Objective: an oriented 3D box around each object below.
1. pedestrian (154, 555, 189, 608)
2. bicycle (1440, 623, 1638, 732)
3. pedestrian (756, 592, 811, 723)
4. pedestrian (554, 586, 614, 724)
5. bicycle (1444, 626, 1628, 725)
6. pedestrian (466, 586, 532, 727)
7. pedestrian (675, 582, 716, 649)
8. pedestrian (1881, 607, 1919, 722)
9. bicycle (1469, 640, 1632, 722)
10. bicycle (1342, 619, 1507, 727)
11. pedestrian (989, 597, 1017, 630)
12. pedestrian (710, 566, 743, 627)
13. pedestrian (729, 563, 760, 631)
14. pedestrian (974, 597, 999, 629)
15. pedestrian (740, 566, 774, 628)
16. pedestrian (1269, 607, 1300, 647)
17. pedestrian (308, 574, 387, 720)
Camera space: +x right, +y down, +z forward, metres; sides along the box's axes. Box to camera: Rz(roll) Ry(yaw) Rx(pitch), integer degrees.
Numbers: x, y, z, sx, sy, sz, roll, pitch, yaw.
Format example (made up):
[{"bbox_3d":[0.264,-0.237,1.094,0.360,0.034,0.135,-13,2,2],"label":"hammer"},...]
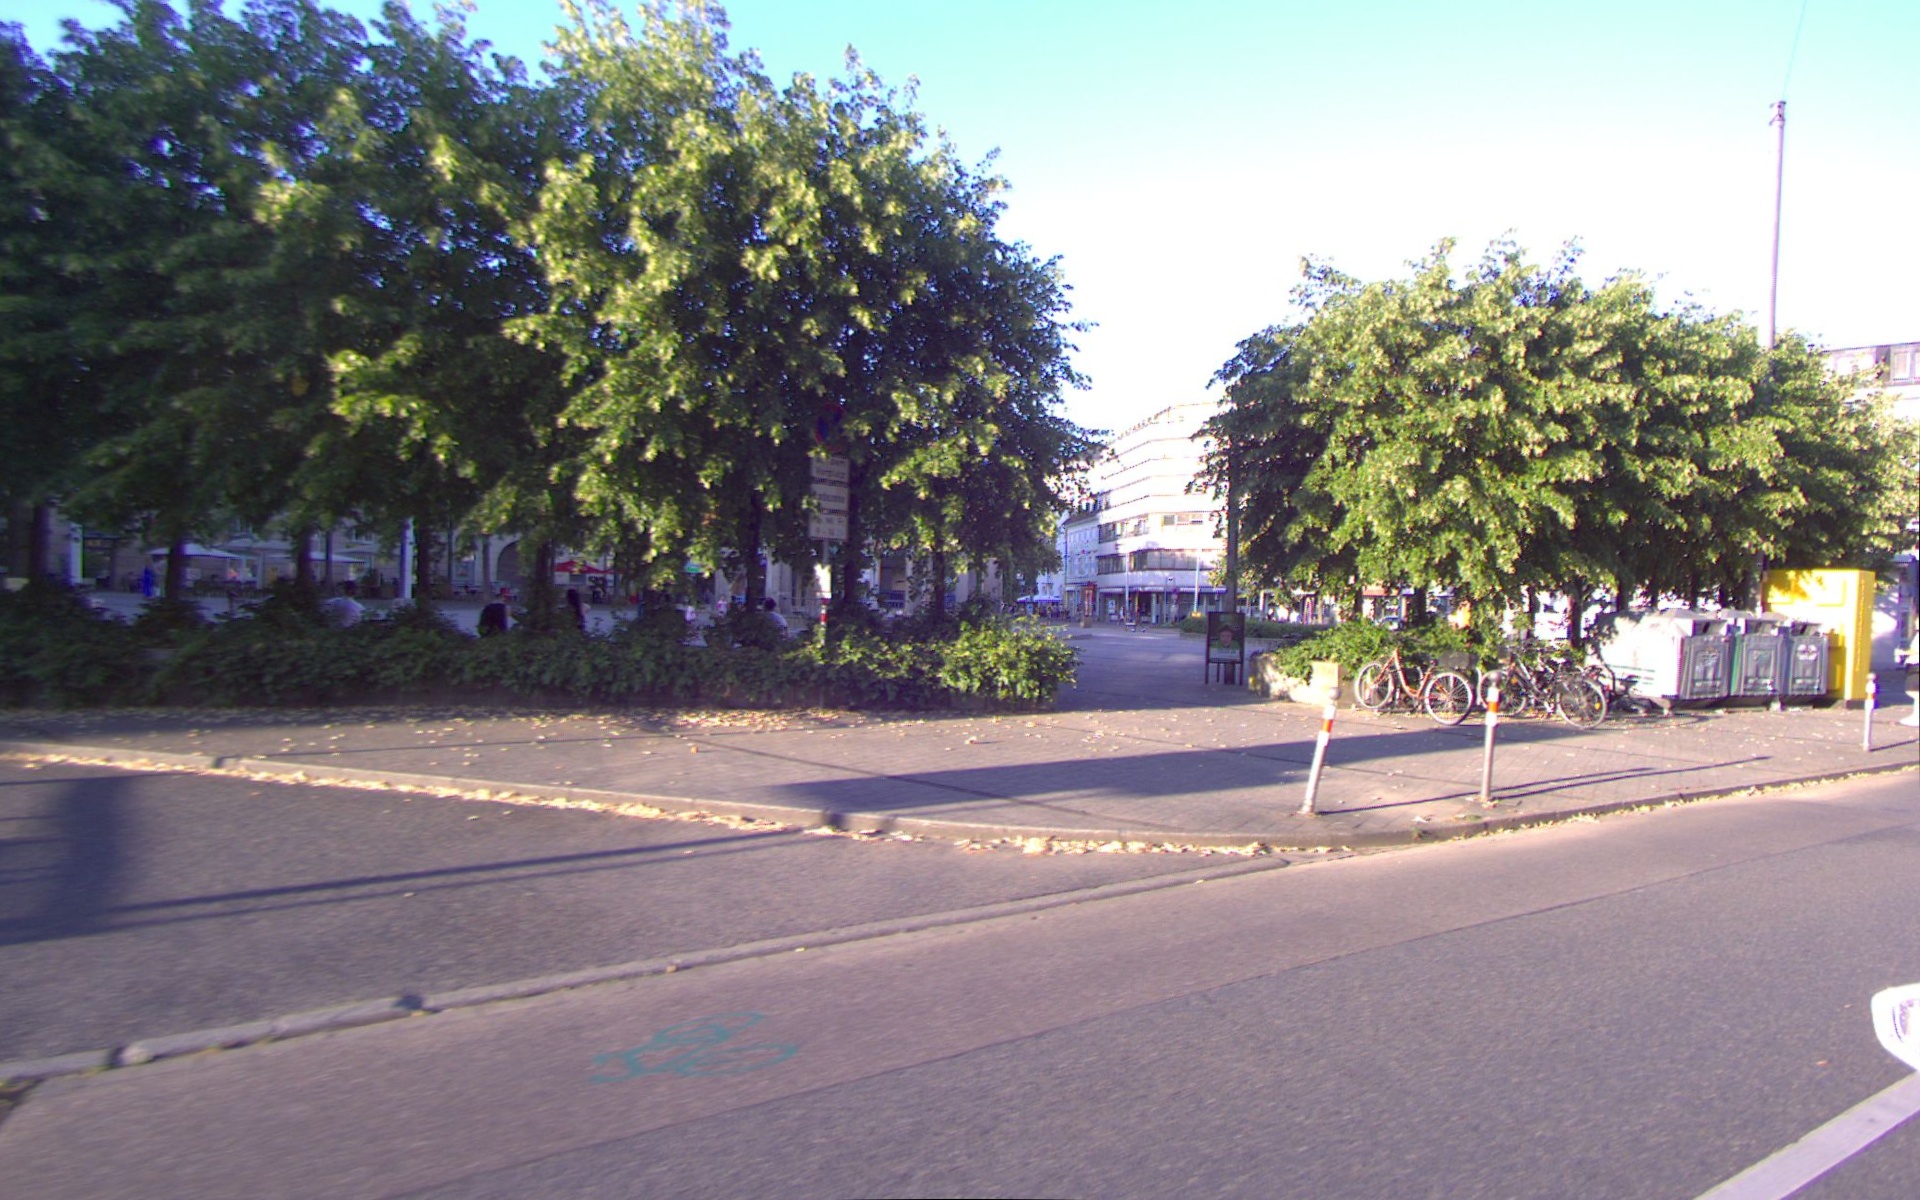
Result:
[{"bbox_3d":[-30.063,-0.688,38.296,0.718,1.974,0.803,1,0,-12],"label":"pedestrian"},{"bbox_3d":[8.043,1.031,14.105,0.512,1.254,2.418,1,2,-31],"label":"bicycle"},{"bbox_3d":[-2.751,0.876,15.618,0.718,1.974,0.802,1,0,-17],"label":"pedestrian"},{"bbox_3d":[-5.549,0.799,14.863,0.718,1.974,0.802,1,0,-17],"label":"pedestrian"},{"bbox_3d":[8.418,1.057,14.821,0.457,1.254,2.418,1,1,-31],"label":"bicycle"},{"bbox_3d":[-6.667,0.800,14.562,0.718,1.974,0.802,1,0,-17],"label":"pedestrian"},{"bbox_3d":[-6.600,0.385,25.080,0.789,1.632,0.526,2,1,22],"label":"pedestrian"},{"bbox_3d":[14.899,0.998,15.515,0.857,1.743,0.757,2,1,36],"label":"pedestrian"},{"bbox_3d":[8.870,1.188,15.195,0.629,0.984,2.032,1,2,-31],"label":"bicycle"},{"bbox_3d":[6.386,0.955,14.022,0.801,1.301,2.507,2,0,-9],"label":"bicycle"},{"bbox_3d":[2.054,0.647,48.232,0.963,1.520,0.988,2,0,29],"label":"pedestrian"},{"bbox_3d":[-7.718,-0.118,33.216,0.790,1.974,0.686,2,0,31],"label":"pedestrian"},{"bbox_3d":[-6.364,-0.079,29.622,0.720,1.974,0.800,1,0,-22],"label":"pedestrian"},{"bbox_3d":[1.269,0.641,48.715,0.830,1.520,0.947,2,0,30],"label":"pedestrian"},{"bbox_3d":[-6.572,-0.086,32.520,0.716,1.974,0.805,2,0,20],"label":"pedestrian"},{"bbox_3d":[14.905,1.221,46.110,1.169,1.801,0.710,2,0,5],"label":"pedestrian"},{"bbox_3d":[-8.542,0.638,14.039,0.718,1.974,0.802,1,0,-17],"label":"pedestrian"}]
